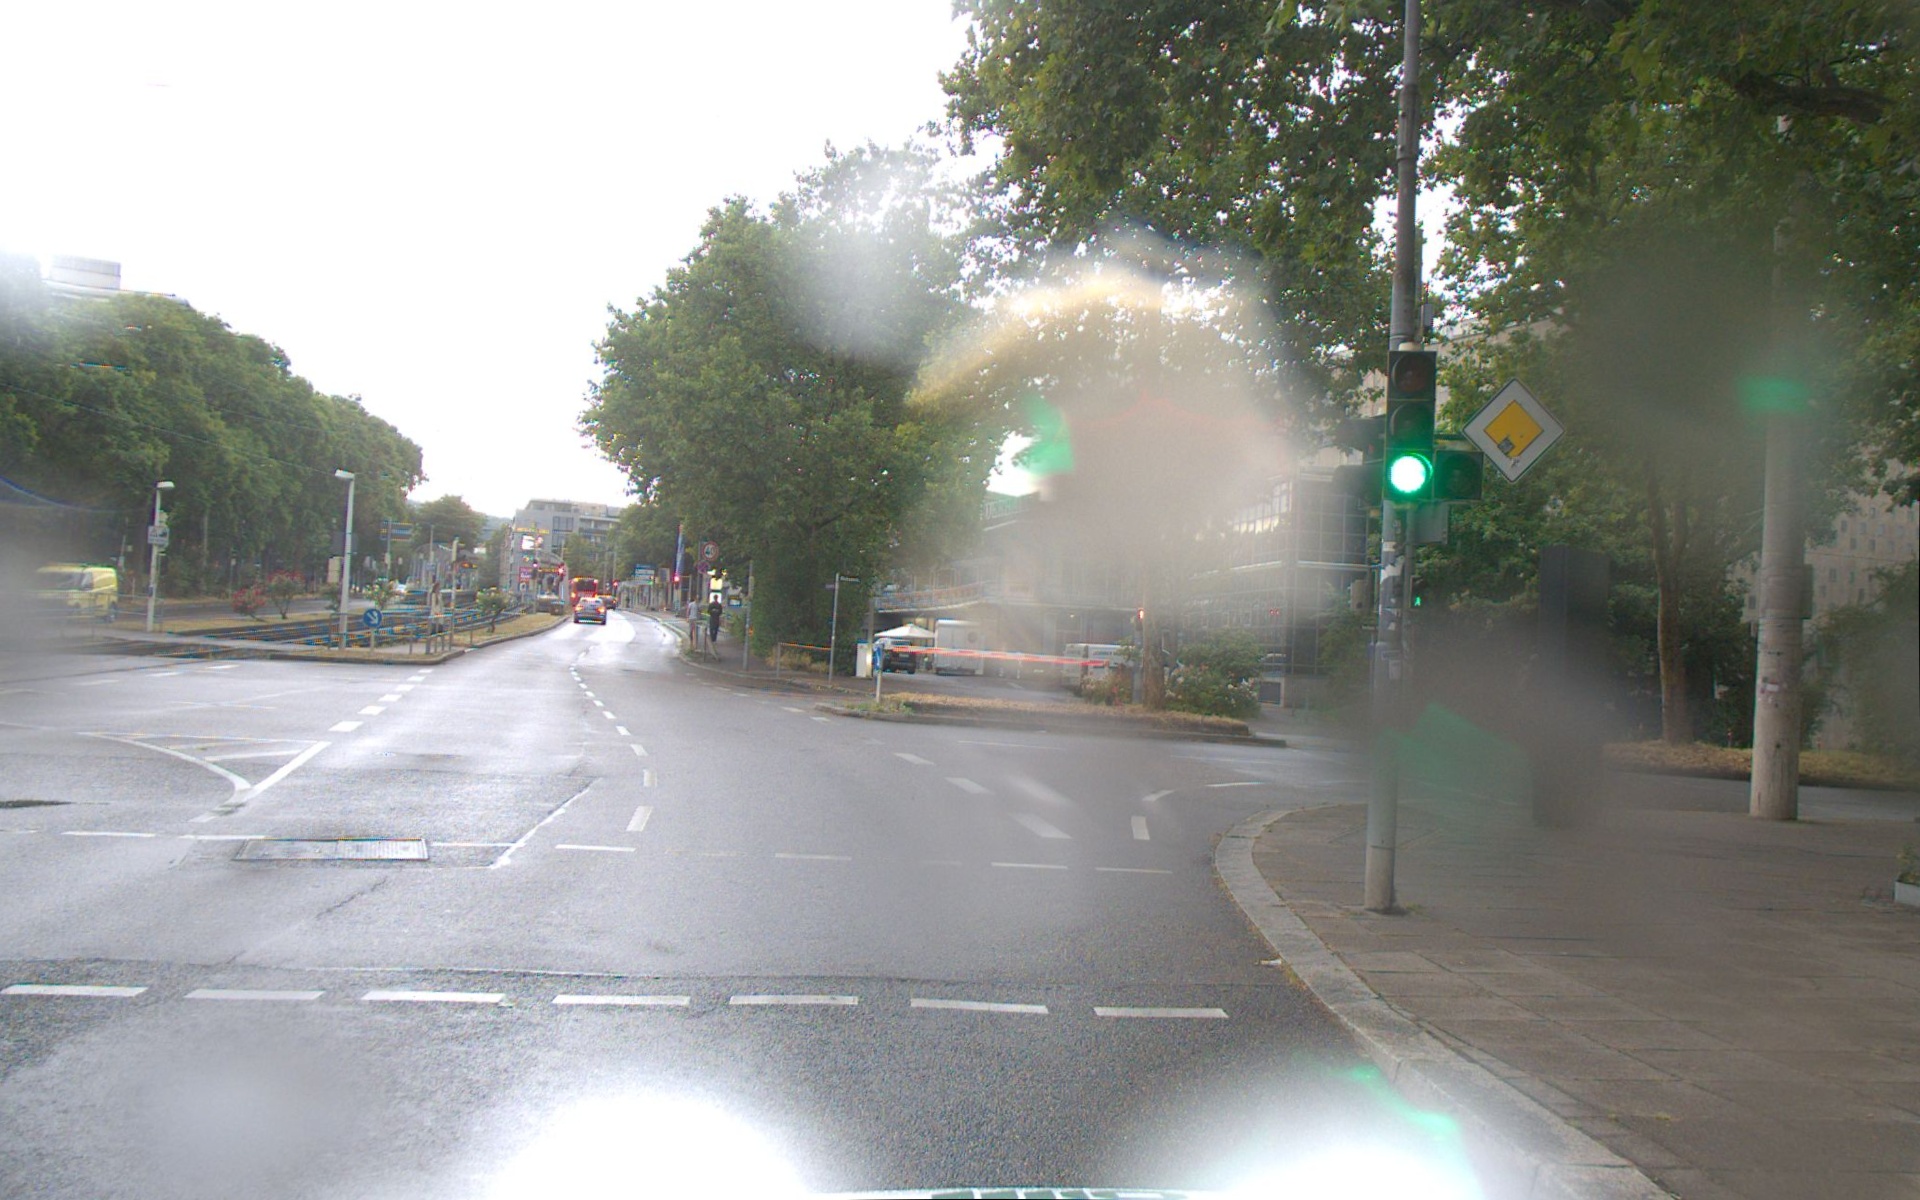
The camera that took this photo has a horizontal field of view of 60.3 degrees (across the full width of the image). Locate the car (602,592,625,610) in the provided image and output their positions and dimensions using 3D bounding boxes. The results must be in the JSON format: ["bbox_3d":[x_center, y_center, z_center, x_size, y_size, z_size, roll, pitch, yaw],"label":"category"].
[{"bbox_3d":[-37.852,0.136,180.667,2.322,1.849,5.165,1,-1,-13],"label":"car"}]

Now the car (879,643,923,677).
[{"bbox_3d":[-3.114,3.152,87.674,1.978,1.578,4.350,3,-1,1],"label":"car"}]

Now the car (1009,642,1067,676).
[{"bbox_3d":[4.149,3.176,89.034,1.985,1.578,4.336,3,-1,-13],"label":"car"}]

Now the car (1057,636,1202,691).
[{"bbox_3d":[6.375,2.388,62.088,5.135,1.761,1.859,4,-1,-26],"label":"car"}]

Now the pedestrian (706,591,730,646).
[{"bbox_3d":[-9.283,0.709,63.458,0.858,2.049,1.075,1,-1,-8],"label":"pedestrian"}]

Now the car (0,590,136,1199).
[{"bbox_3d":[-2.333,0.687,0.689,1.759,1.468,4.474,1,-1,-1],"label":"car"}]

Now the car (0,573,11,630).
[{"bbox_3d":[-27.174,-0.002,44.130,1.884,1.573,3.674,2,-1,-8],"label":"car"}]

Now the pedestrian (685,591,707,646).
[{"bbox_3d":[-10.092,0.702,63.236,0.799,2.049,1.075,1,-1,-8],"label":"pedestrian"}]

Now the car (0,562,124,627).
[{"bbox_3d":[-28.348,-0.129,52.383,1.884,1.883,4.558,2,-1,-8],"label":"car"}]

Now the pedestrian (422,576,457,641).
[{"bbox_3d":[-15.066,0.236,47.899,0.855,1.834,0.864,3,-1,-17],"label":"pedestrian"}]

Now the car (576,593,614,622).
[{"bbox_3d":[-20.724,0.439,93.983,1.958,1.545,4.338,1,-1,-11],"label":"car"}]

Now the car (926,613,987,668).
[{"bbox_3d":[-0.254,2.172,91.160,2.678,2.742,6.915,3,-1,-5],"label":"car"}]

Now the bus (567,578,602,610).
[{"bbox_3d":[-39.882,-0.635,175.670,3.528,3.227,10.384,1,-1,-13],"label":"bus"}]
